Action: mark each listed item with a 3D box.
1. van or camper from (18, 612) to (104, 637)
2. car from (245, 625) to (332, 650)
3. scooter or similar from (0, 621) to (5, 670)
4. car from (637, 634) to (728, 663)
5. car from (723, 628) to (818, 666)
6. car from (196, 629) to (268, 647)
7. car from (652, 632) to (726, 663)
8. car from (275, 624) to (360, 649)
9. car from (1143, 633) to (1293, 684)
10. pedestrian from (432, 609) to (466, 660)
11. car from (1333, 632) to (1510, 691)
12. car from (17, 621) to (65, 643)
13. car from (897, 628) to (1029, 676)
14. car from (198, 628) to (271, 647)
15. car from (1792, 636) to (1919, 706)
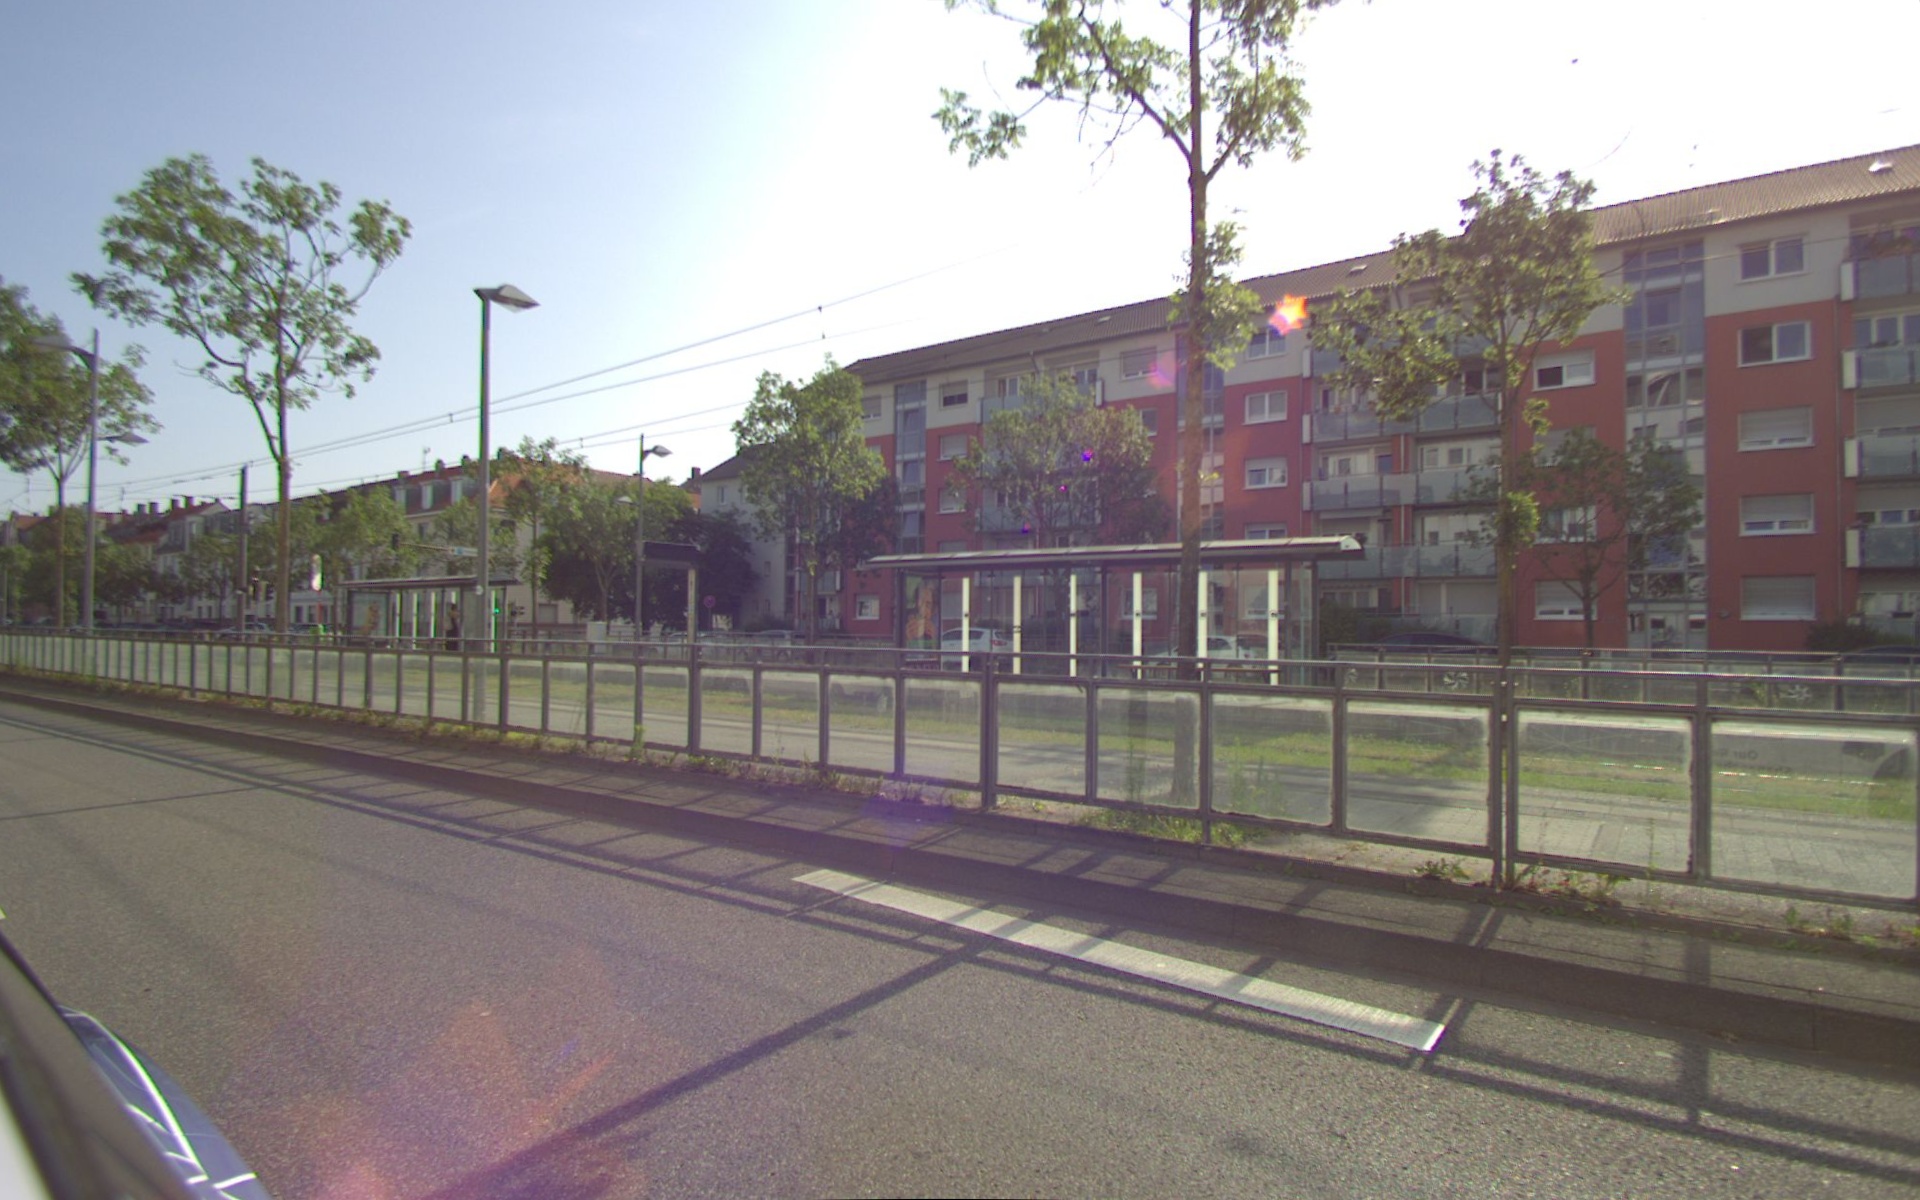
[{"bbox_3d":[-92.202,2.529,103.896,6.057,2.566,2.421,1,-2,-16],"label":"van or camper"},{"bbox_3d":[-44.045,2.430,66.524,4.388,1.526,2.006,0,0,-17],"label":"car"},{"bbox_3d":[-24.435,1.128,25.290,0.420,1.248,1.266,2,-3,-26],"label":"scooter or similar"},{"bbox_3d":[-12.609,2.185,45.886,4.156,1.156,1.817,-1,0,36],"label":"car"},{"bbox_3d":[-8.036,1.958,42.852,3.819,1.482,1.817,-1,-1,36],"label":"car"},{"bbox_3d":[-53.662,2.786,74.684,3.931,1.268,1.882,1,-2,-21],"label":"car"},{"bbox_3d":[-16.526,2.887,61.841,1.997,1.708,3.950,-1,0,37],"label":"car"},{"bbox_3d":[-41.024,2.321,64.709,4.278,1.474,1.970,0,0,-20],"label":"car"},{"bbox_3d":[7.885,1.750,31.044,4.061,1.371,1.963,-1,0,36],"label":"car"},{"bbox_3d":[-16.836,1.122,33.335,0.792,1.665,0.666,-1,-2,32],"label":"pedestrian"},{"bbox_3d":[12.372,1.600,27.209,4.061,1.371,1.963,-1,0,36],"label":"car"},{"bbox_3d":[-77.162,2.650,84.959,4.702,1.719,1.976,-1,-5,36],"label":"car"},{"bbox_3d":[0.091,1.852,36.805,4.528,1.568,1.963,-1,-1,36],"label":"car"},{"bbox_3d":[-51.972,2.673,72.571,3.930,1.279,1.893,0,0,-24],"label":"car"},{"bbox_3d":[20.440,1.497,21.541,4.061,1.371,1.963,-1,0,36],"label":"car"}]
